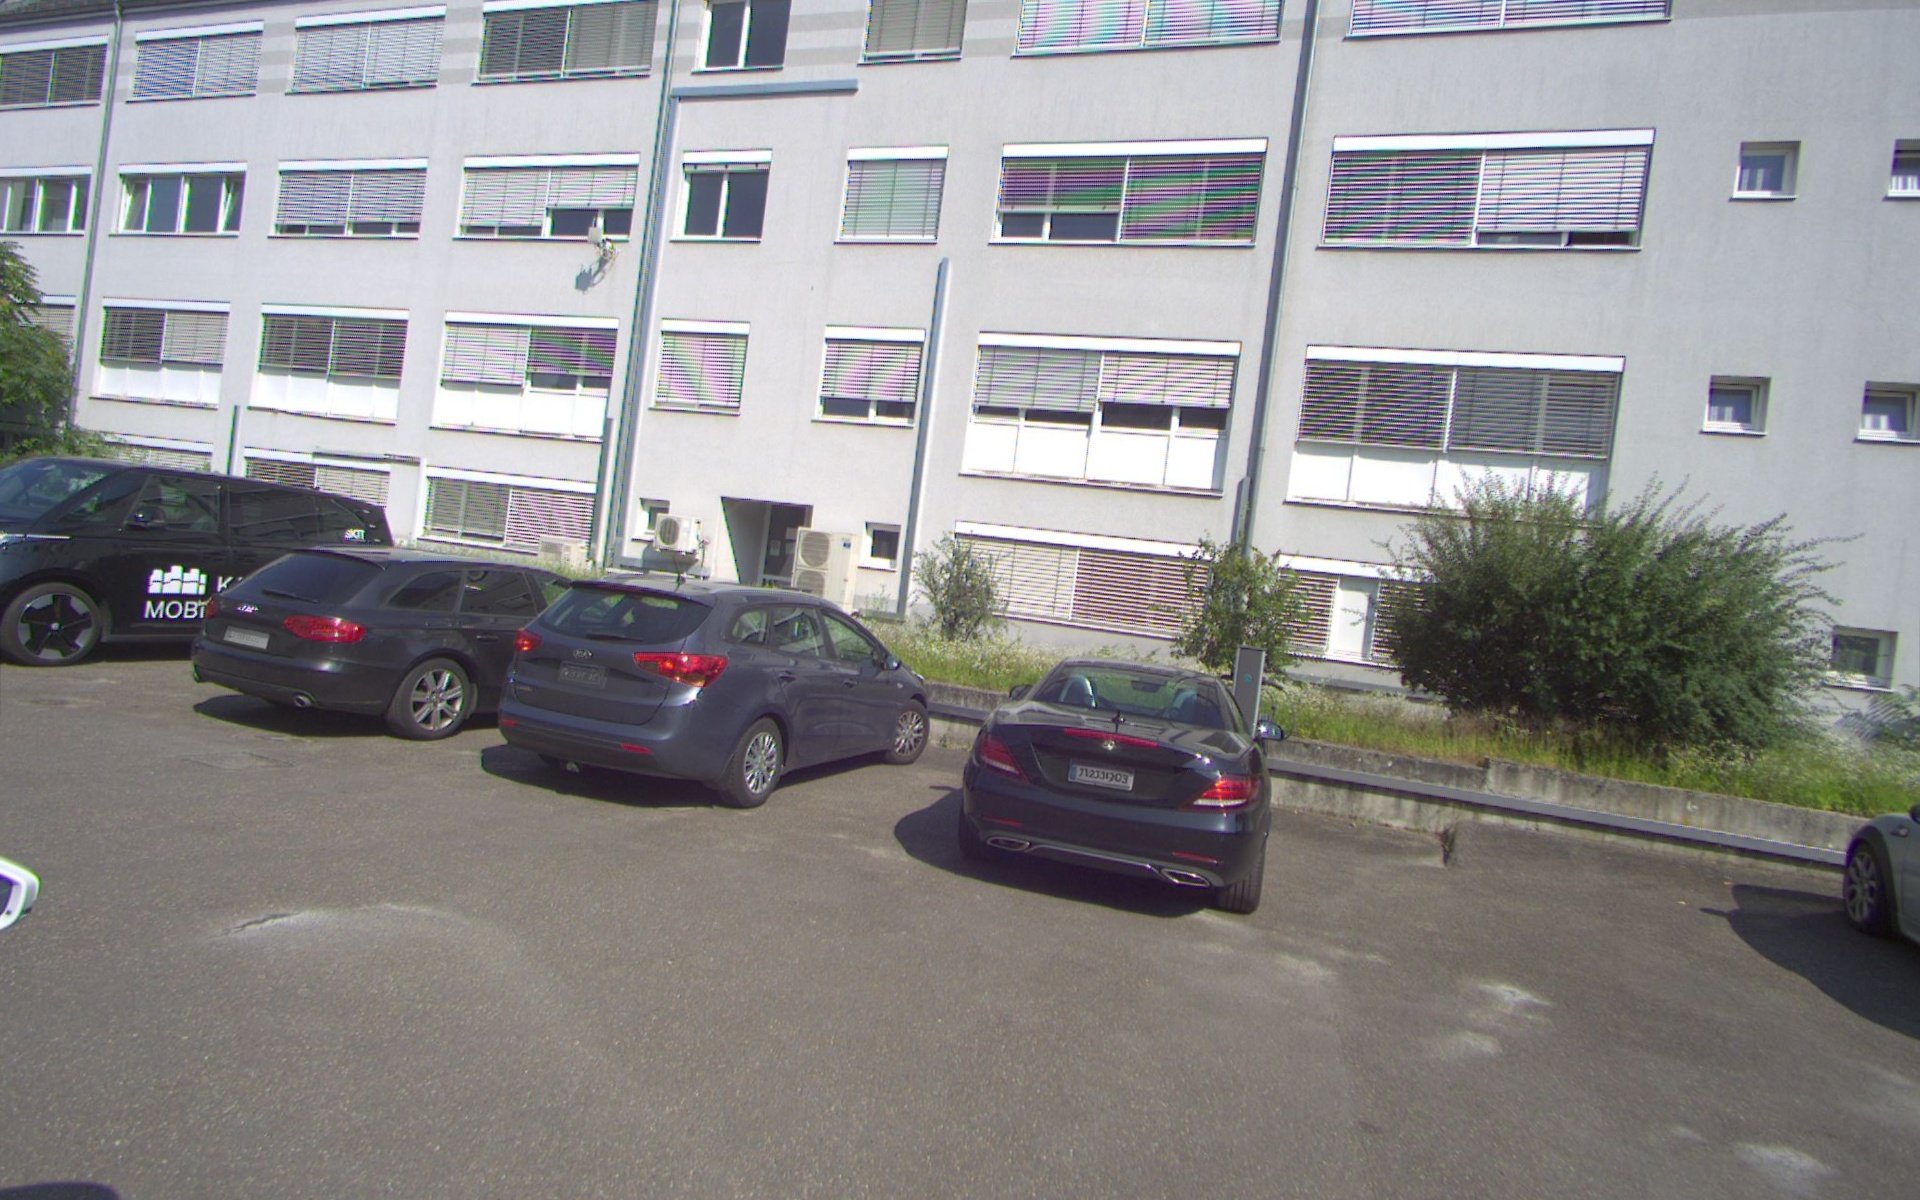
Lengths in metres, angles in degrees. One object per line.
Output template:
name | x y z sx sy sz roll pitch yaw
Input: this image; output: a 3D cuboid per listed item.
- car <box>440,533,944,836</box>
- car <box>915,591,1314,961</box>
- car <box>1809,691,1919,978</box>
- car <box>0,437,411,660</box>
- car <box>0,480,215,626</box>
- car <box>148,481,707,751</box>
car | -1.752 0.596 7.985 1.844 1.607 3.876 7 -1 20
car | 1.236 0.966 6.998 1.861 1.607 3.814 7 -1 15
car | 6.488 1.546 5.415 1.770 1.566 3.624 7 3 23
car | -8.223 -0.431 10.260 1.847 1.816 4.517 6 -1 16
car | -10.929 -0.594 11.160 1.741 1.500 3.947 6 -1 16
car | -4.314 0.210 8.983 1.739 1.711 4.131 7 -1 22
